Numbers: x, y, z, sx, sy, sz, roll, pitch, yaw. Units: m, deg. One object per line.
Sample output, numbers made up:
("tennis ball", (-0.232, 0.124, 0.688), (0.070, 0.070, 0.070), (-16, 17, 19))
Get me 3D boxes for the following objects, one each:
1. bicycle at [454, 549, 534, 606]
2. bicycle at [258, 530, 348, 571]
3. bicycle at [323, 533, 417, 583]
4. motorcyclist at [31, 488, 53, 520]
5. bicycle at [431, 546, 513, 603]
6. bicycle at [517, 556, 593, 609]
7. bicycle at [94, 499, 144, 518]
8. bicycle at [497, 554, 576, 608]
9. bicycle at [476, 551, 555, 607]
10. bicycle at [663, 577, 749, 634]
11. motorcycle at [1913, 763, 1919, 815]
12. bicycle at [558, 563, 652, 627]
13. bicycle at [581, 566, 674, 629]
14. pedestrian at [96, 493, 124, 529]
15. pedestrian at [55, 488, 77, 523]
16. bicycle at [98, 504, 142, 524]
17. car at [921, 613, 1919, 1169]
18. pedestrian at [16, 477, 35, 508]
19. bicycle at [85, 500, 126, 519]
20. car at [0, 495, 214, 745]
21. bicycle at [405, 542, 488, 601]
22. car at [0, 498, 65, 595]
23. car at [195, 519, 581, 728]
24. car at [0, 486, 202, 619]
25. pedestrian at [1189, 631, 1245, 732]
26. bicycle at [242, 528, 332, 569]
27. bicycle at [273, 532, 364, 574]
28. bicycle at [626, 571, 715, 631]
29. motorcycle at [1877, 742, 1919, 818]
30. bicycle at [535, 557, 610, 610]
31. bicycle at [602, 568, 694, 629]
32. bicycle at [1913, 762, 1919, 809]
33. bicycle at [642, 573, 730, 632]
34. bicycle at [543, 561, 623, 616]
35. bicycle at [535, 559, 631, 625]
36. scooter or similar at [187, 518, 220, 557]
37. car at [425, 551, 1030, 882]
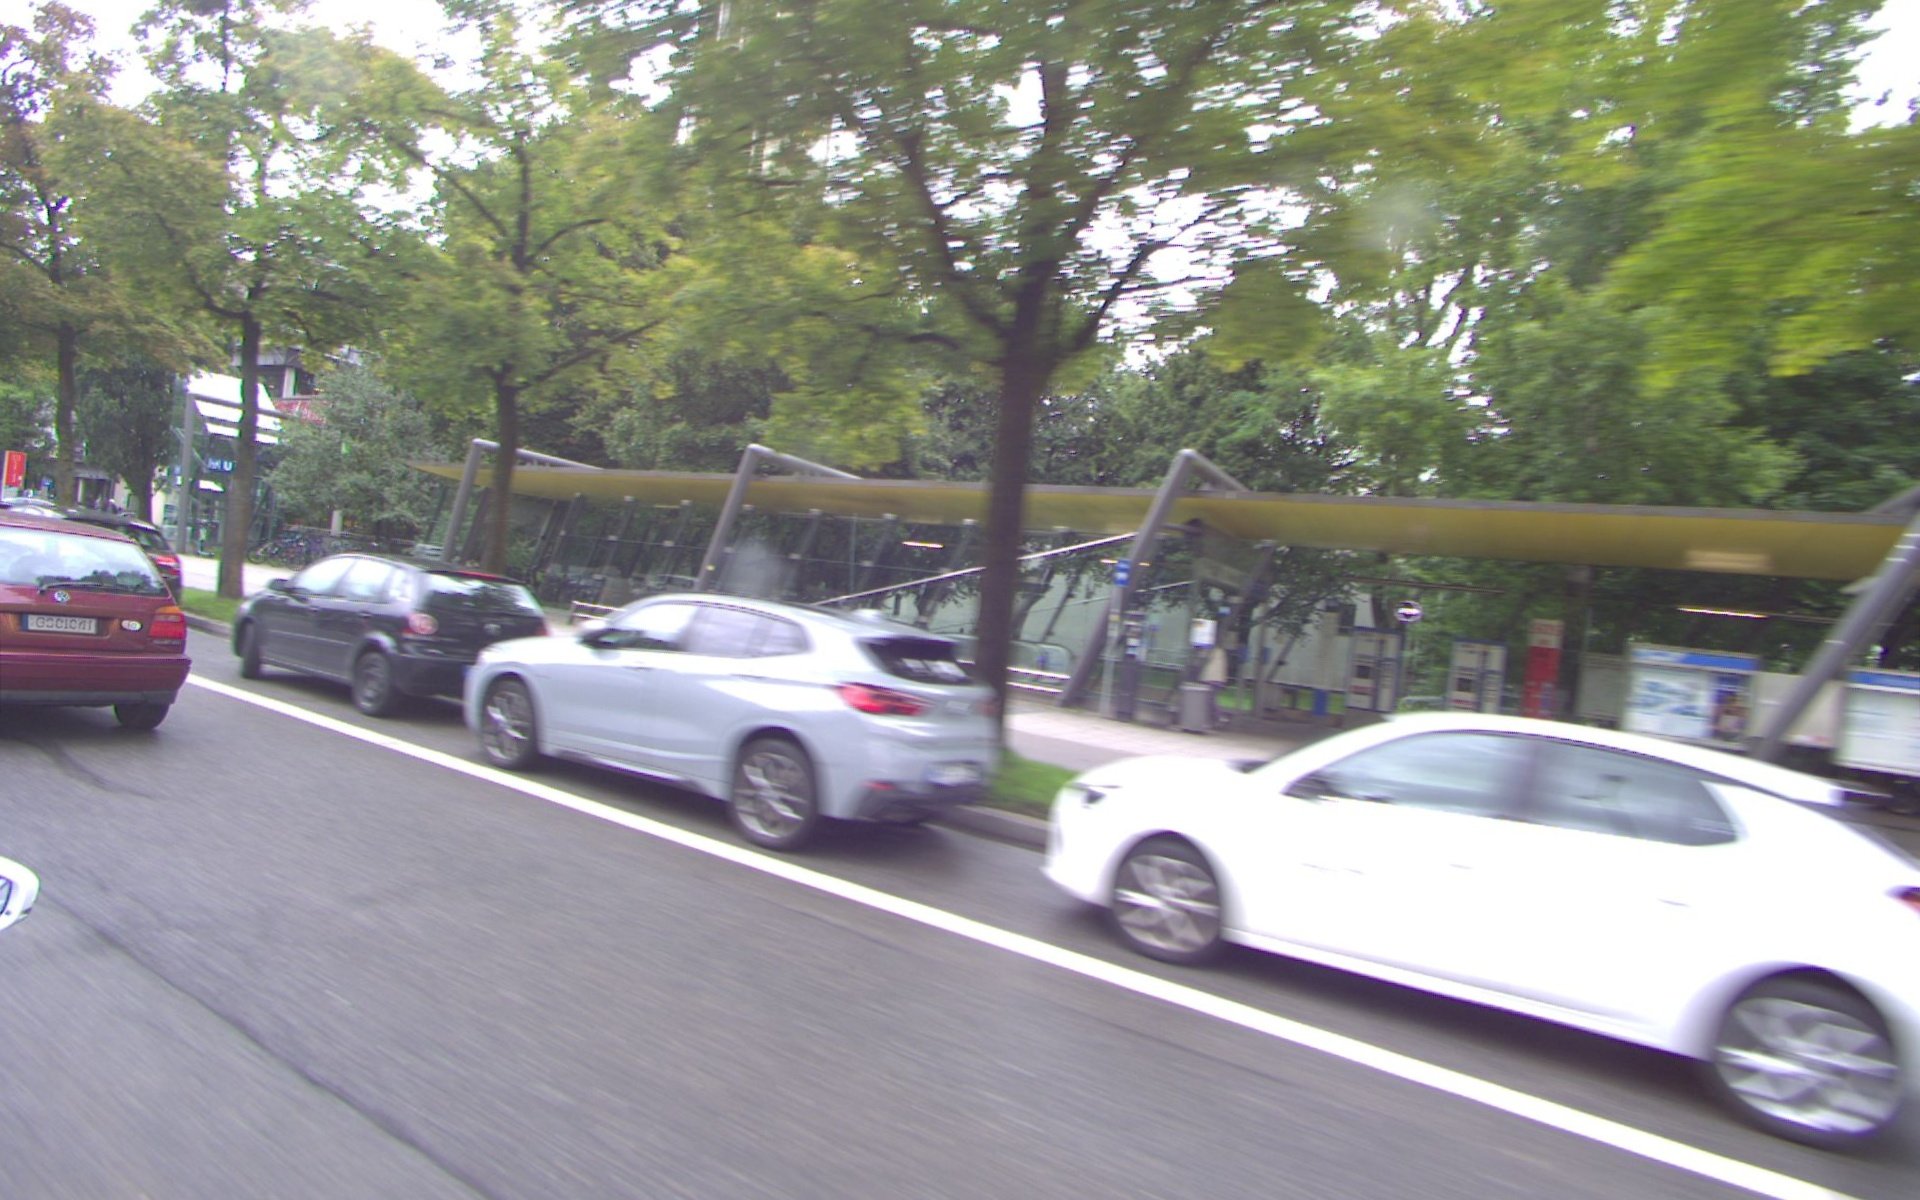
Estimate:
("bicycle", (-12.979, -0.639, 27.987), (2.508, 1.296, 0.646), (7, 0, 32))
("bicycle", (-23.025, -1.708, 35.320), (0.636, 1.102, 2.546), (7, -1, 31))
("bicycle", (-19.179, -1.353, 32.780), (0.636, 1.296, 2.546), (7, -1, 31))
("motorcyclist", (-52.370, -5.471, 57.405), (0.937, 1.762, 0.690), (7, 5, 31))
("bicycle", (-13.304, -0.706, 27.395), (2.508, 1.296, 0.646), (7, 0, 32))
("bicycle", (-11.969, -0.518, 29.694), (2.508, 1.296, 0.605), (7, 0, 32))
("bicycle", (-56.685, -6.149, 67.824), (2.366, 0.880, 0.769), (7, 0, -15))
("bicycle", (-12.284, -0.561, 29.130), (2.508, 1.296, 0.646), (7, 0, 32))
("bicycle", (-12.643, -0.612, 28.569), (2.508, 1.296, 0.646), (7, 0, 32))
("bicycle", (-7.095, 0.137, 28.000), (2.508, 1.296, 0.646), (7, 0, 32))
("motorcycle", (15.882, 2.884, 15.310), (0.652, 1.192, 1.797), (7, 0, -33))
("bicycle", (-8.789, -0.140, 24.874), (2.508, 1.296, 0.646), (7, 0, 32))
("bicycle", (-8.454, -0.075, 25.518), (2.508, 1.296, 0.646), (7, 0, 32))
("pedestrian", (-45.186, -4.740, 53.475), (0.924, 1.744, 0.828), (7, 2, 31))
("pedestrian", (-47.317, -5.020, 53.216), (0.971, 1.744, 0.539), (7, 2, 32))
("bicycle", (-55.897, -5.695, 66.942), (2.016, 0.969, 0.744), (7, 0, -15))
("car", (2.204, 1.160, 5.293), (4.426, 1.525, 1.707), (7, -3, 29))
("pedestrian", (-57.407, -6.584, 61.781), (0.720, 1.773, 0.575), (7, 0, 36))
("bicycle", (-60.220, -6.394, 70.896), (0.734, 0.969, 2.044), (7, -1, 30))
("car", (-7.197, -0.050, 7.123), (3.883, 1.471, 1.625), (7, 0, 31))
("bicycle", (-13.695, -0.766, 26.794), (2.508, 1.296, 0.646), (7, 0, 32))
("car", (-17.080, -1.088, 17.085), (4.010, 1.471, 1.636), (7, 0, 32))
("car", (-5.923, 0.188, 10.289), (4.022, 1.552, 1.545), (7, -1, 31))
("car", (-13.076, -0.762, 14.675), (4.153, 1.527, 1.720), (7, 0, 32))
("pedestrian", (4.169, 1.312, 16.355), (0.681, 1.531, 0.580), (7, 0, 13))
("bicycle", (-24.025, -1.831, 35.971), (0.636, 1.102, 2.546), (7, -1, 31))
("bicycle", (-22.134, -1.600, 34.771), (0.636, 1.102, 2.546), (7, -1, 31))
("bicycle", (-7.695, 0.005, 26.667), (2.508, 1.296, 0.646), (7, 0, 32))
("motorcycle", (15.034, 2.826, 15.008), (0.649, 1.075, 1.805), (7, 0, -20))
("bicycle", (-11.660, -0.504, 30.240), (2.508, 1.296, 0.605), (7, 0, 32))
("bicycle", (-8.080, -0.044, 26.005), (2.508, 1.296, 0.646), (7, 0, 32))
("bicycle", (17.625, 3.149, 16.790), (2.308, 1.173, 0.527), (7, 3, 34))
("bicycle", (-7.478, 0.062, 27.412), (2.508, 1.296, 0.646), (7, 0, 32))
("bicycle", (-10.262, -0.292, 27.489), (0.483, 1.296, 2.552), (7, -1, 17))
("bicycle", (-9.131, -0.206, 24.300), (2.508, 1.296, 0.646), (7, 0, 32))
("scooter or similar", (-26.515, -2.201, 35.261), (1.217, 1.248, 0.420), (7, 0, 34))
("car", (-1.862, 0.676, 7.550), (4.326, 1.553, 1.723), (7, -1, 31))
